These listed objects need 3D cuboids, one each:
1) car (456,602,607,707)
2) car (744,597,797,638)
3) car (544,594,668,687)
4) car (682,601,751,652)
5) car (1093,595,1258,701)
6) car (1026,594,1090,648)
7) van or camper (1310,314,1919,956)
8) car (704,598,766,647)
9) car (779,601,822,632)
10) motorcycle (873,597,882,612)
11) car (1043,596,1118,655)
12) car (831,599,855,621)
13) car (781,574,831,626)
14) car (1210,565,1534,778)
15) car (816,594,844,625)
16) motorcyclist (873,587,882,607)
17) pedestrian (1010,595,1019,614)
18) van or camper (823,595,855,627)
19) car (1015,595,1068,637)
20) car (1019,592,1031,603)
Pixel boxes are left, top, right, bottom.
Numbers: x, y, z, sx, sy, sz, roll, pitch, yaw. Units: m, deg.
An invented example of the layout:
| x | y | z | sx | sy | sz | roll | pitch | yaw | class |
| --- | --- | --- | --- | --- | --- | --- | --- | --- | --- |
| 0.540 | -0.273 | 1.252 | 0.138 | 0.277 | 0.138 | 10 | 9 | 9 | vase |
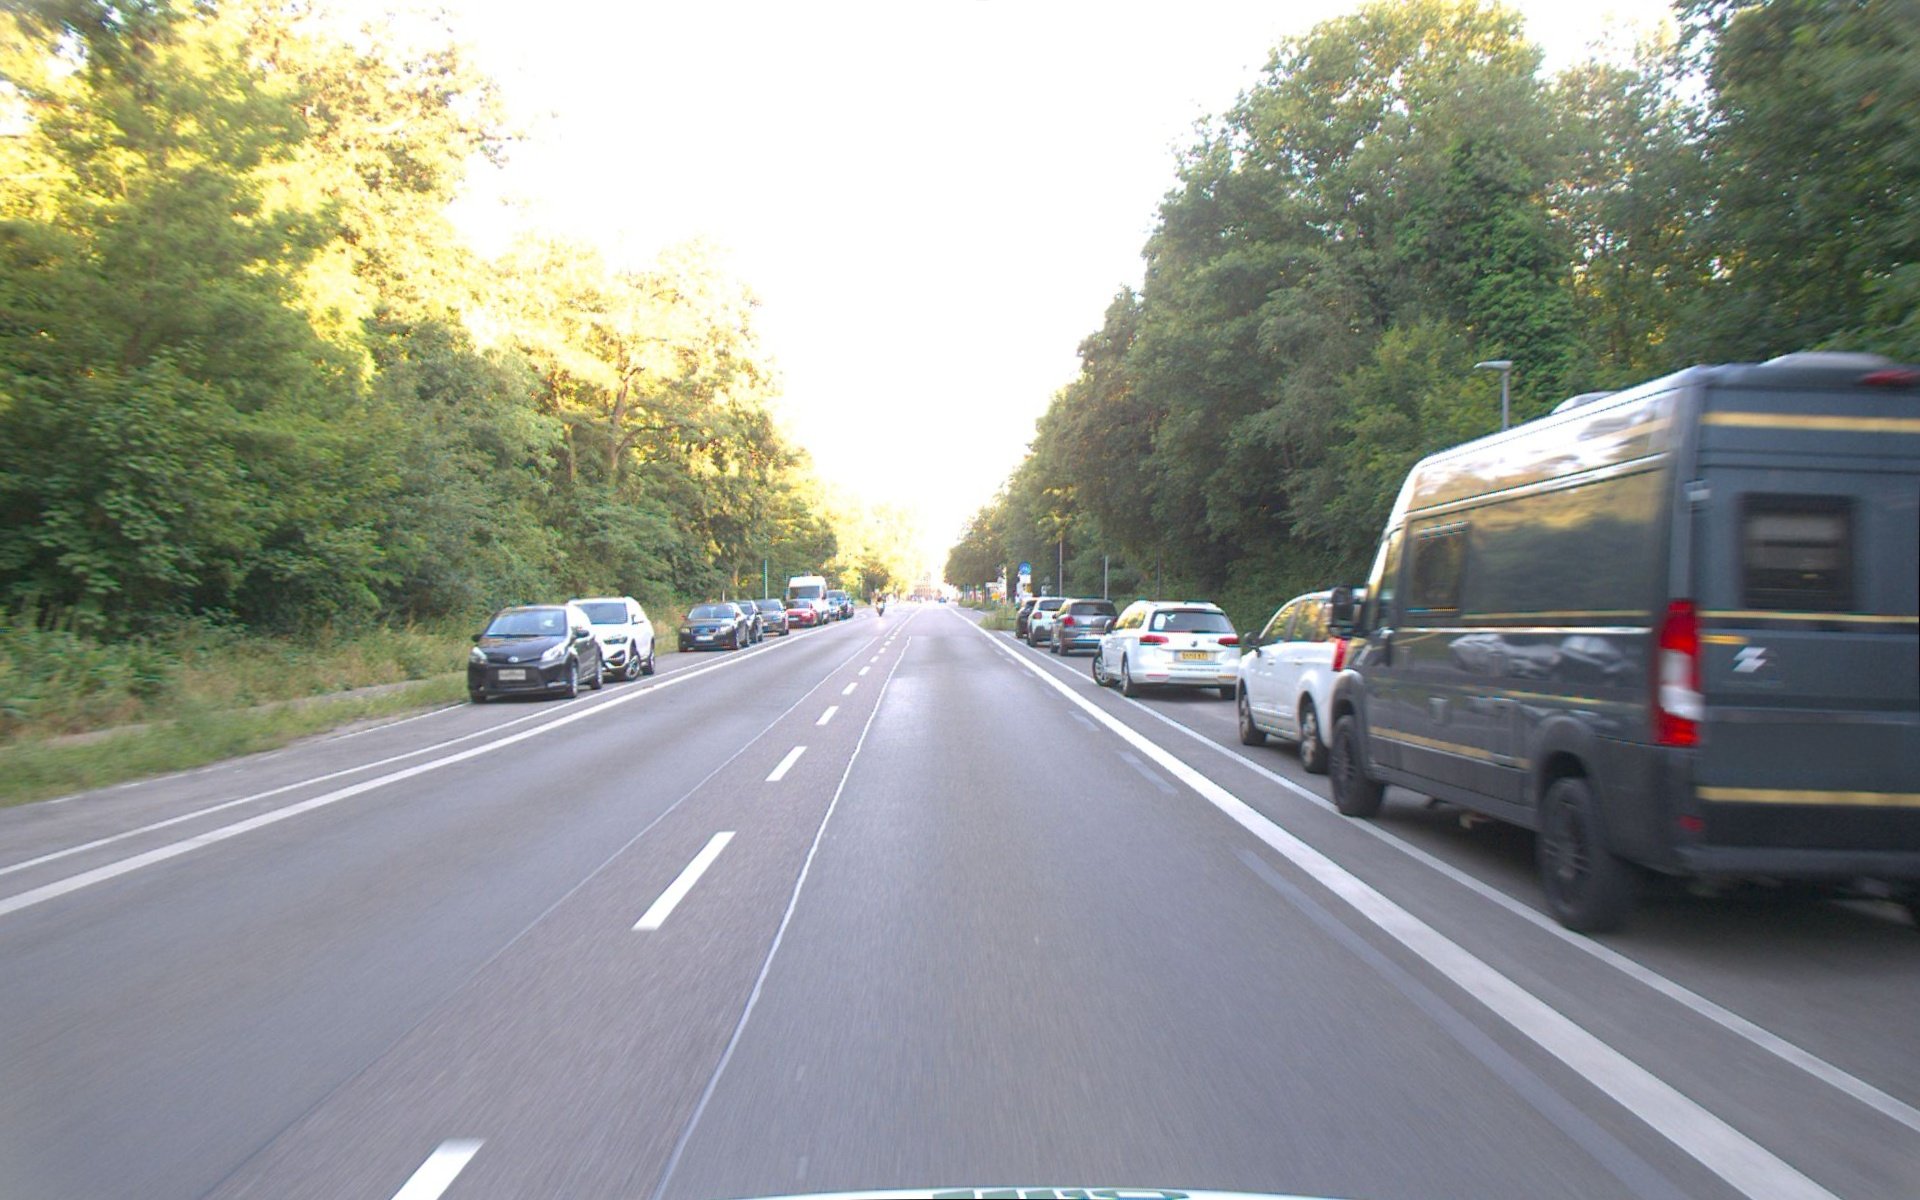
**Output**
| x | y | z | sx | sy | sz | roll | pitch | yaw | class |
| --- | --- | --- | --- | --- | --- | --- | --- | --- | --- |
| -7.024 | 0.837 | 27.450 | 1.638 | 1.546 | 3.734 | -2 | 0 | -3 | car |
| -7.544 | 0.684 | 66.250 | 1.809 | 1.488 | 4.227 | -2 | 0 | -3 | car |
| -7.039 | 0.748 | 33.286 | 1.661 | 1.675 | 4.570 | -2 | 0 | -3 | car |
| -7.340 | 0.779 | 50.139 | 1.565 | 1.419 | 4.050 | -1 | 0 | -2 | car |
| 3.386 | 0.699 | 26.868 | 1.807 | 1.520 | 4.756 | 0 | 1 | -3 | car |
| 2.952 | 0.604 | 50.621 | 1.654 | 1.573 | 4.111 | -1 | 0 | -1 | car |
| 3.837 | 0.220 | 9.749 | 2.084 | 2.586 | 6.057 | 1 | -1 | -2 | van or camper |
| -7.696 | 0.744 | 56.851 | 1.677 | 1.535 | 3.656 | -2 | 0 | -2 | car |
| -7.999 | 0.801 | 83.169 | 1.681 | 1.455 | 4.387 | -1 | 0 | 0 | car |
| -6.385 | 0.320 | 128.024 | 0.598 | 1.146 | 1.962 | -1 | 0 | 2 | motorcycle |
| 3.156 | 0.638 | 43.819 | 1.547 | 1.471 | 3.959 | -1 | 0 | -2 | car |
| -8.791 | 0.755 | 123.999 | 1.635 | 1.527 | 4.244 | -2 | 0 | -3 | car |
| -8.353 | 0.005 | 90.306 | 2.037 | 2.652 | 7.087 | -3 | 0 | -1 | car |
| 3.920 | 0.609 | 16.629 | 1.815 | 1.795 | 4.721 | 1 | 0 | -3 | car |
| -8.173 | 0.592 | 104.206 | 1.654 | 1.890 | 4.384 | 0 | 1 | -3 | car |
| -6.383 | -0.261 | 128.012 | 0.591 | 1.556 | 0.995 | -1 | 0 | 1 | motorcyclist |
| 5.024 | 0.423 | 152.114 | 0.821 | 1.782 | 0.726 | 0 | -1 | 0 | pedestrian |
| -8.393 | 0.772 | 114.821 | 1.962 | 2.053 | 5.458 | -3 | 0 | -3 | van or camper |
| 2.975 | 0.559 | 60.731 | 1.676 | 1.470 | 4.121 | 1 | 0 | -1 | car |
| 9.993 | -0.345 | 252.529 | 1.733 | 1.611 | 4.820 | 1 | -1 | 3 | car |
